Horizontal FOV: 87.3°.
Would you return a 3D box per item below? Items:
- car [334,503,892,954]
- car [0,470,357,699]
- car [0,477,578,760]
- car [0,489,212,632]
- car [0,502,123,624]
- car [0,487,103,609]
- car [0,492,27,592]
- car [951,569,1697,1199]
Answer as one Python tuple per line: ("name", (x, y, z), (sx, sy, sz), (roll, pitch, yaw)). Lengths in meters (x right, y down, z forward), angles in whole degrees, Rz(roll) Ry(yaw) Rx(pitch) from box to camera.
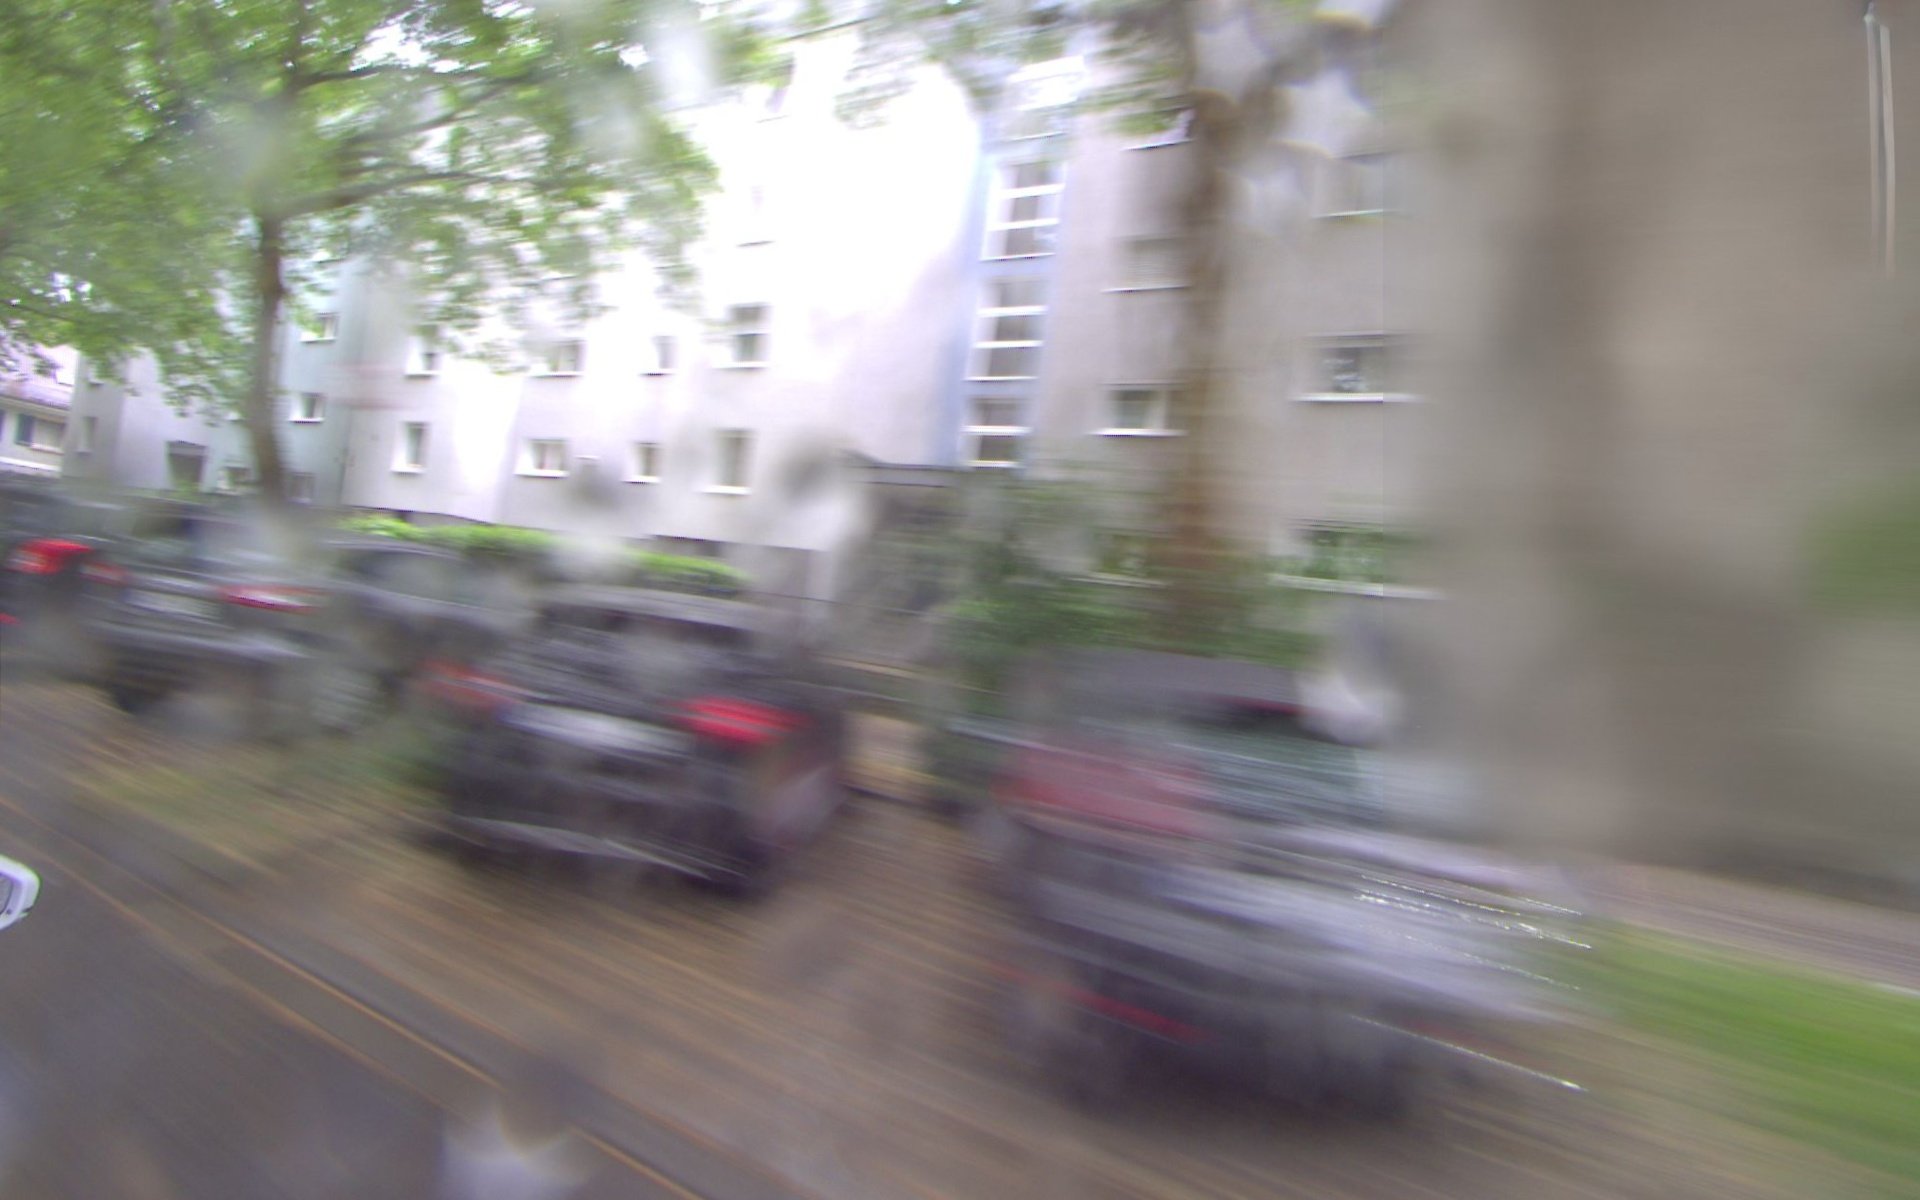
("car", (-1.582, 0.634, 6.195), (1.770, 1.619, 4.004), (8, -3, 1))
("car", (-8.016, -0.206, 9.623), (1.803, 1.718, 3.868), (8, 0, 4))
("car", (-5.292, 0.231, 8.750), (1.997, 1.619, 4.006), (8, -3, 4))
("car", (-11.732, -0.570, 12.297), (1.710, 1.555, 3.706), (7, 0, 34))
("car", (-14.197, -0.735, 13.547), (1.770, 1.529, 3.999), (7, -3, 29))
("car", (-16.010, -1.052, 15.326), (1.771, 1.746, 3.997), (7, -3, 32))
("car", (-19.149, -1.380, 17.099), (1.788, 1.781, 4.349), (7, -3, 31))
("car", (1.001, 0.951, 4.547), (1.770, 1.619, 3.773), (8, -3, 1))
